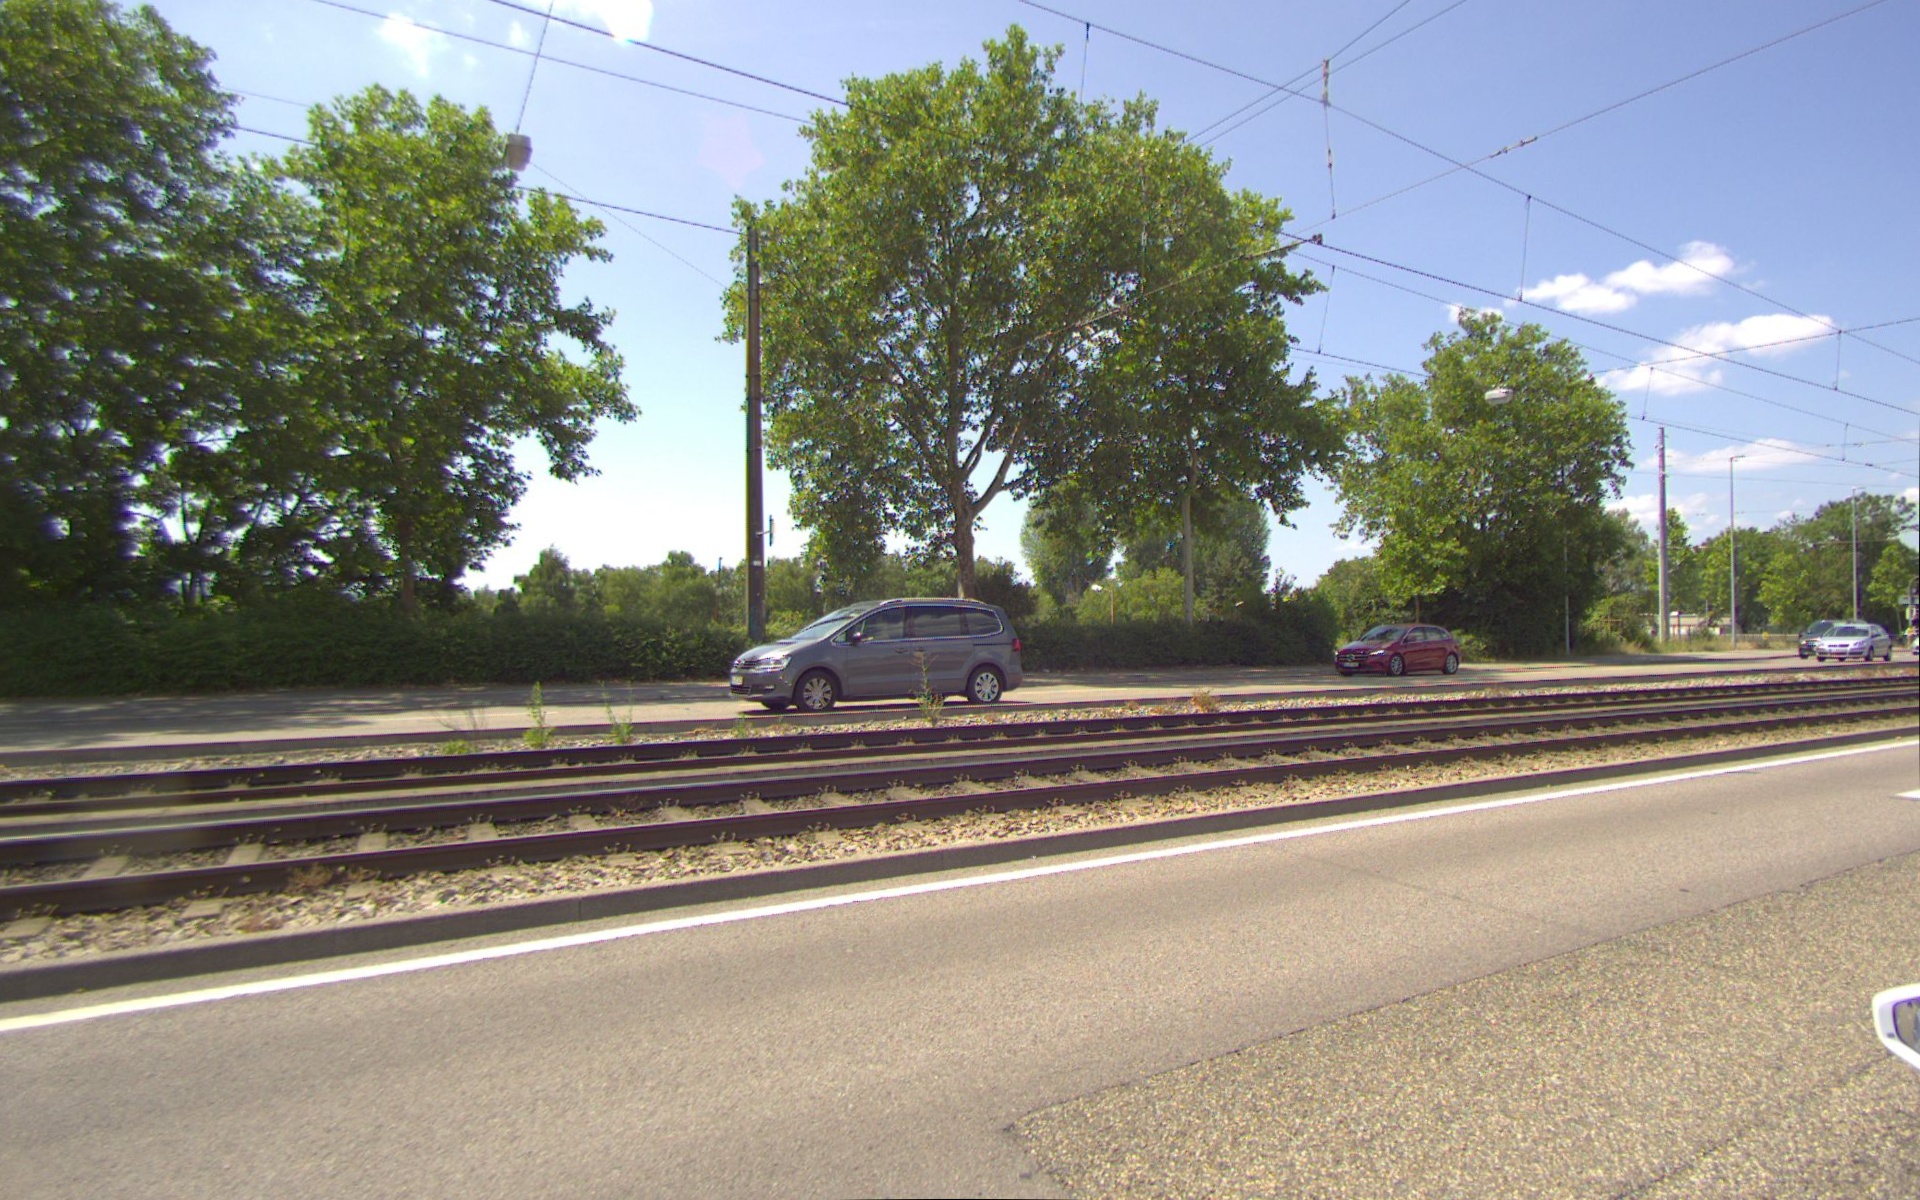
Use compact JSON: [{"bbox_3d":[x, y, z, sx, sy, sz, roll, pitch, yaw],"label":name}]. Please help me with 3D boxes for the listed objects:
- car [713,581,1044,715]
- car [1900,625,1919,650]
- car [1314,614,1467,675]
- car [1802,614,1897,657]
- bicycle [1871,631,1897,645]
[{"bbox_3d":[-1.236,0.737,16.029,4.913,1.854,1.984,1,-3,-32],"label":"car"},{"bbox_3d":[57.230,2.210,58.957,3.834,1.434,1.816,1,-3,-27],"label":"car"},{"bbox_3d":[12.784,1.300,29.753,4.417,1.692,1.984,1,-3,-32],"label":"car"},{"bbox_3d":[35.034,1.405,39.554,4.013,1.604,1.677,1,-3,-32],"label":"car"},{"bbox_3d":[74.466,3.057,80.955,0.480,1.000,1.482,1,0,-33],"label":"bicycle"}]
